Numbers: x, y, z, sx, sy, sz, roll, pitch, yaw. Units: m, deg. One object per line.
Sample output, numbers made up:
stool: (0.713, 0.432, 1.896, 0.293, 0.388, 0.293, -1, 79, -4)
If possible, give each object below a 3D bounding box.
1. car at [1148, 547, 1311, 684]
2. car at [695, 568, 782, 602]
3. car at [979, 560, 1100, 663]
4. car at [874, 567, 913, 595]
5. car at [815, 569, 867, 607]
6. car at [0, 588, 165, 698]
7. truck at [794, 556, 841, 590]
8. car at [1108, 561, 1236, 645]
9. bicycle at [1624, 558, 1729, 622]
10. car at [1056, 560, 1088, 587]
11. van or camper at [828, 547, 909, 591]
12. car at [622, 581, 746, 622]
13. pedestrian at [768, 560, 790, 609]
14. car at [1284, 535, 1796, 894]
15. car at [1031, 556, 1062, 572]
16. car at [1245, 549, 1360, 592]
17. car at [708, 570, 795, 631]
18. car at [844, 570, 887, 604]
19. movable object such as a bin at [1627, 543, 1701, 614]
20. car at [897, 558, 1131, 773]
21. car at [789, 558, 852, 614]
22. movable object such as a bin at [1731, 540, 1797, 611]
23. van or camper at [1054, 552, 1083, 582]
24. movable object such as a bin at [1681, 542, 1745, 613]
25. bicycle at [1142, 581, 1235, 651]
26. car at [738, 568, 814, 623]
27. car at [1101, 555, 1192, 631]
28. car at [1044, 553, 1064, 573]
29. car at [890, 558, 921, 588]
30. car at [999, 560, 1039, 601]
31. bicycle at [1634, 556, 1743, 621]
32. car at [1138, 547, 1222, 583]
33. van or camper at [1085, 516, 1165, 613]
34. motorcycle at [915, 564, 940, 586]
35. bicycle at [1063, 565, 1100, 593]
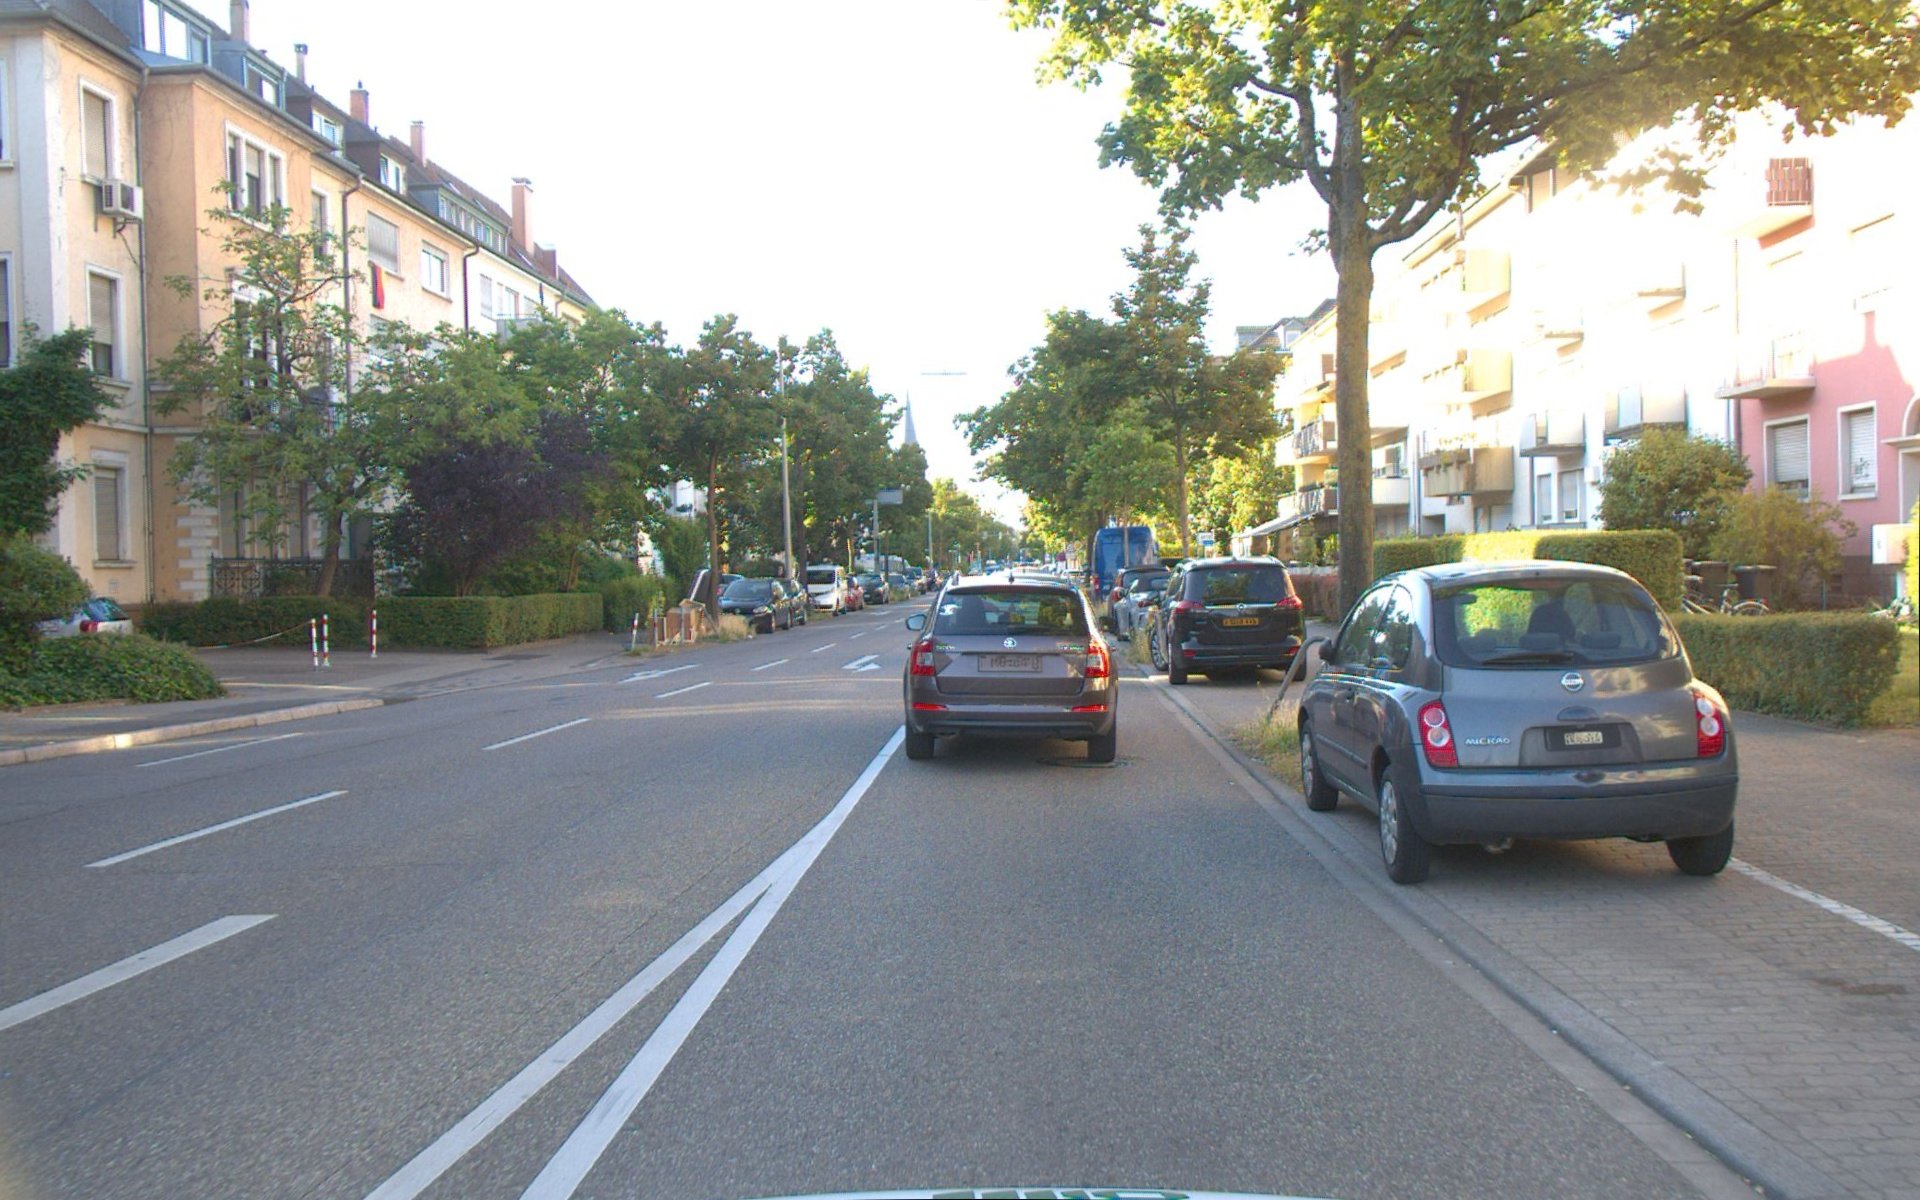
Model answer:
car: (3.628, 0.124, 22.944, 1.696, 1.679, 4.293, -2, 2, 2)
car: (-10.494, -0.725, 78.594, 3.906, 1.504, 2.000, -1, 2, -1)
car: (1.252, 0.132, 27.449, 1.694, 1.519, 3.950, -2, 2, -1)
car: (-3.720, -1.084, 92.788, 1.717, 1.444, 4.428, -2, 2, 3)
car: (-4.962, -0.510, 69.290, 1.681, 1.445, 3.788, -2, 2, 2)
car: (-14.265, 0.652, 25.138, 3.426, 1.512, 1.815, -2, 2, -2)
truck: (-9.265, -1.770, 107.650, 2.853, 2.129, 1.547, -2, 1, 2)
car: (4.209, 0.000, 33.501, 1.881, 1.512, 4.746, -2, 2, -1)
bicycle: (10.267, -0.141, 23.707, 1.331, 0.868, 0.365, -2, 1, 2)
car: (6.497, -1.536, 95.413, 1.783, 1.437, 4.114, -1, 2, 4)
van or camper: (-8.657, -3.004, 157.421, 7.483, 3.941, 2.000, -2, 1, 0)
car: (-10.697, 0.047, 64.085, 4.626, 1.386, 1.995, -2, 2, -11)
pedestrian: (-7.753, -0.668, 70.756, 0.751, 2.048, 0.976, -1, 1, 2)
car: (2.970, 0.461, 9.275, 1.696, 1.578, 3.648, -2, 2, 2)
car: (10.444, -4.357, 199.340, 1.844, 1.787, 4.166, -1, 2, 34)
car: (12.924, -1.121, 62.550, 3.906, 1.487, 1.824, -2, 2, -1)
car: (-5.832, -0.017, 46.695, 1.714, 1.529, 4.199, -2, 2, 2)
car: (-4.604, -0.638, 81.159, 1.681, 1.523, 4.250, -2, 2, 2)
movable object such as a bin: (10.408, -0.324, 24.458, 0.760, 1.019, 0.797, -2, 2, 2)
car: (0.531, 0.441, 14.205, 1.693, 1.519, 3.953, -1, 2, 4)
car: (-5.195, -0.573, 62.116, 1.733, 1.952, 4.462, -2, 2, 2)
movable object such as a bin: (11.867, -0.366, 24.433, 0.598, 1.019, 0.797, -2, 2, 2)
van or camper: (7.836, -2.390, 119.500, 1.952, 2.048, 4.002, -2, 2, 2)
movable object such as a bin: (11.119, -0.344, 24.441, 0.598, 1.019, 0.797, -2, 2, 2)
bicycle: (3.760, 0.259, 27.209, 1.450, 1.077, 0.410, -2, 1, -11)
car: (-5.705, -0.172, 51.640, 1.714, 1.529, 3.980, -2, 2, 2)
car: (4.388, -0.183, 39.402, 1.736, 1.671, 3.758, -2, 1, 1)
car: (8.834, -3.466, 155.282, 1.694, 1.846, 3.952, -2, 2, 1)
car: (-3.475, -1.744, 105.968, 1.714, 1.770, 3.592, -2, 2, 2)
car: (2.650, -0.886, 73.452, 1.696, 1.679, 3.543, -2, 2, 2)
bicycle: (10.237, -0.167, 23.251, 1.341, 0.868, 0.369, -2, 1, 3)
car: (12.683, -2.045, 95.278, 4.476, 1.925, 1.899, -2, 2, -25)
van or camper: (4.913, -1.054, 49.988, 2.025, 2.722, 5.992, -2, 1, 3)
motorcycle: (-2.388, -1.811, 120.973, 0.759, 1.538, 2.001, -3, 2, -40)
bicycle: (5.875, -1.031, 79.887, 1.635, 1.247, 0.636, -4, 1, 15)
